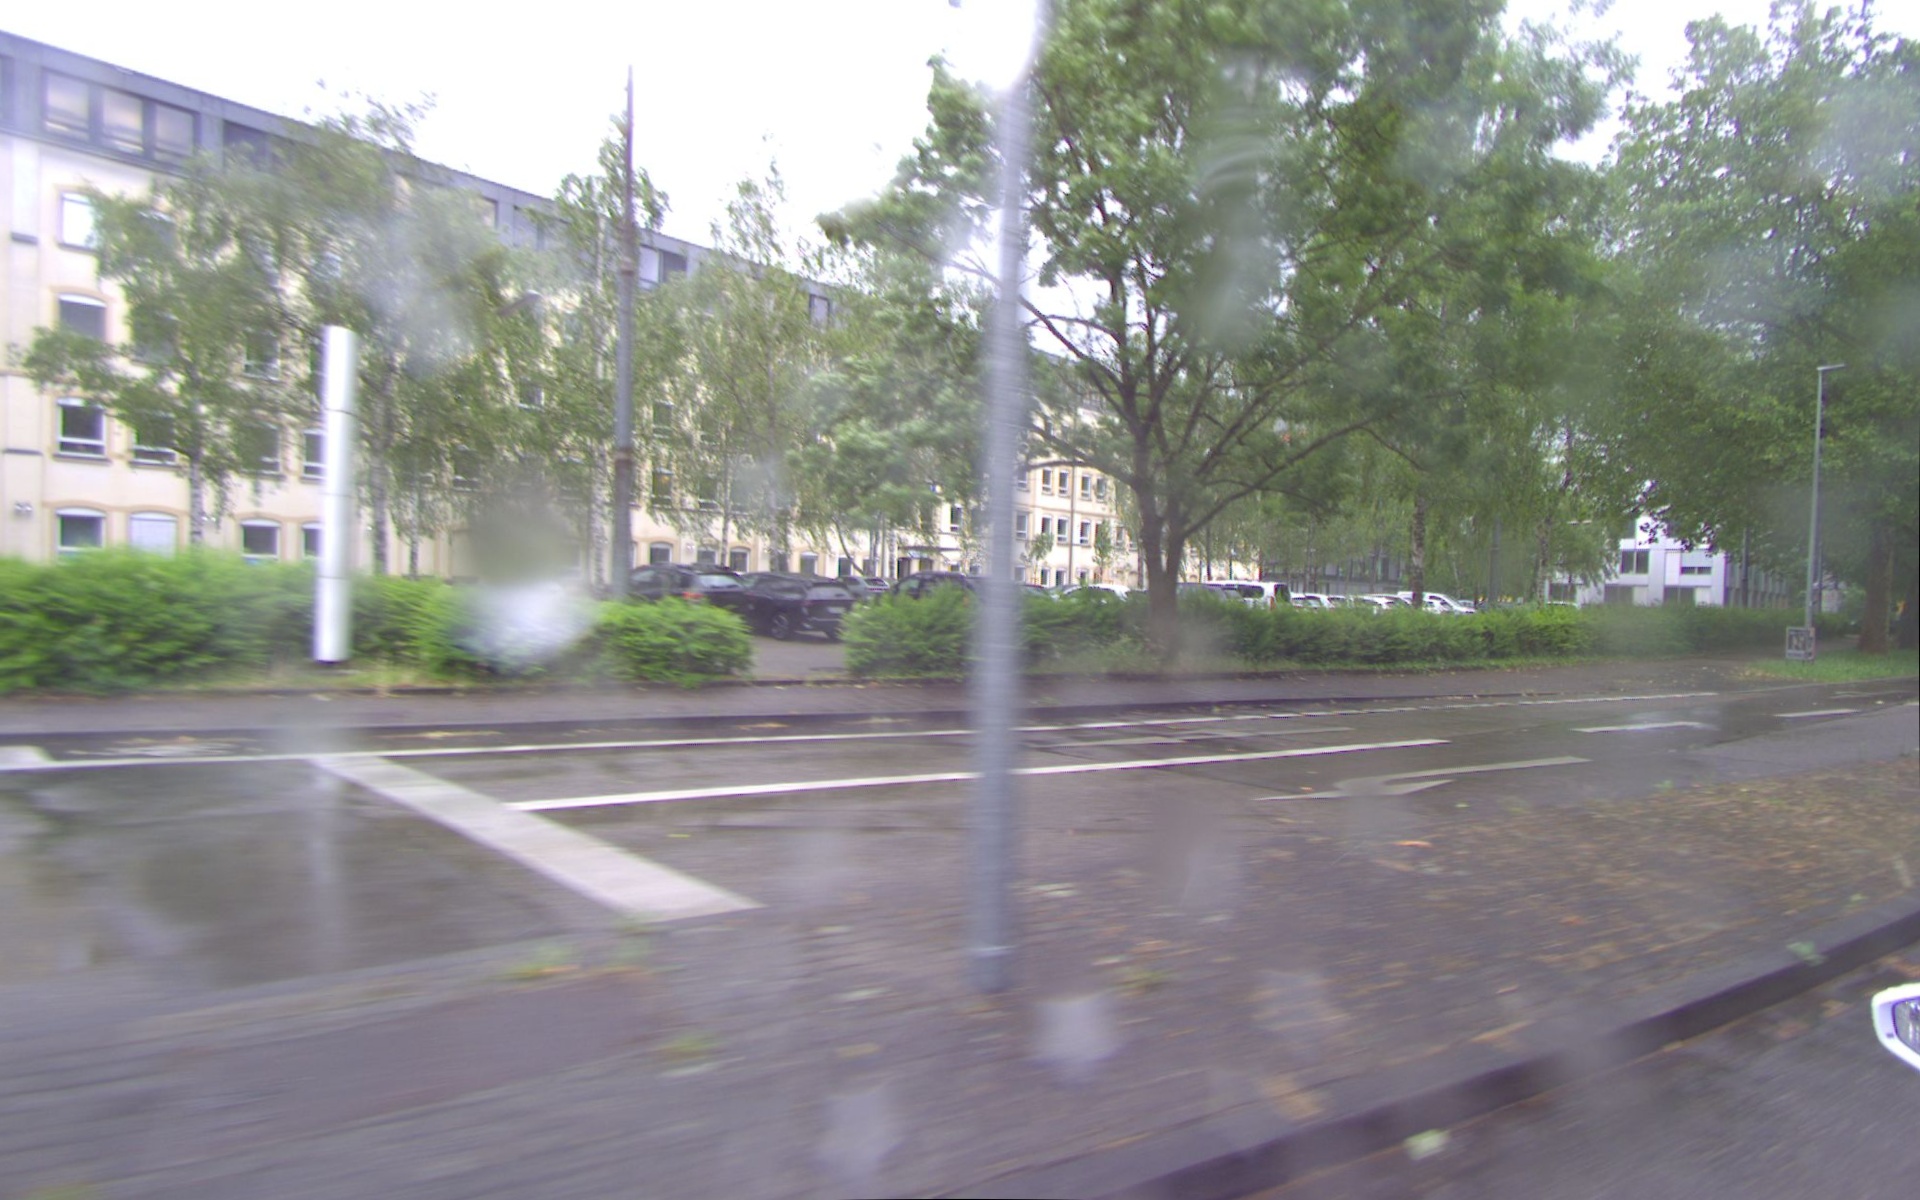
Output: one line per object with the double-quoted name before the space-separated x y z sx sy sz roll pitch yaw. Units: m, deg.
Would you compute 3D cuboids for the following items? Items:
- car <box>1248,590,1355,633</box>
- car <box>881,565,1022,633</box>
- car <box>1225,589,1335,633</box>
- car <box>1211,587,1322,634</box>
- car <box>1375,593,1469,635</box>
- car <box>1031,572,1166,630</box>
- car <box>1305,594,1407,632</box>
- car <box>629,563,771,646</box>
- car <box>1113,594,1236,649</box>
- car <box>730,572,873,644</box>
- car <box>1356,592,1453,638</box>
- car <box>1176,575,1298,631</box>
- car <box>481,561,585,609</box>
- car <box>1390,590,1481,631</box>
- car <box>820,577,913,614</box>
"car" 14.640 0.474 43.224 1.841 1.620 3.950 1 2 -42
"car" -0.306 -0.063 26.940 1.637 1.633 3.955 1 2 -39
"car" 13.277 0.431 41.830 1.841 1.620 3.950 1 2 -42
"car" 12.025 0.384 39.537 3.766 1.620 1.708 4 2 44
"car" 23.971 0.715 52.177 1.985 2.040 3.950 1 0 -42
"car" 4.509 0.001 32.954 3.944 1.660 1.988 4 2 44
"car" 18.279 0.588 46.520 1.870 1.571 3.953 2 1 -40
"car" -5.706 0.048 21.709 1.902 1.558 3.966 2 2 -31
"car" 7.488 0.720 35.317 1.696 1.660 3.950 1 2 -42
"car" -3.753 0.137 23.192 1.902 1.442 3.966 2 2 -31
"car" 21.997 0.702 49.785 1.985 2.161 3.951 1 0 -41
"car" 10.346 0.081 37.692 3.944 1.857 1.843 4 2 44
"car" -14.774 -0.521 34.640 1.987 1.539 3.947 1 0 -45
"car" 25.574 0.541 54.052 1.985 2.040 3.950 1 0 -42
"car" -4.233 -0.215 45.253 2.150 1.580 3.947 1 0 -44
